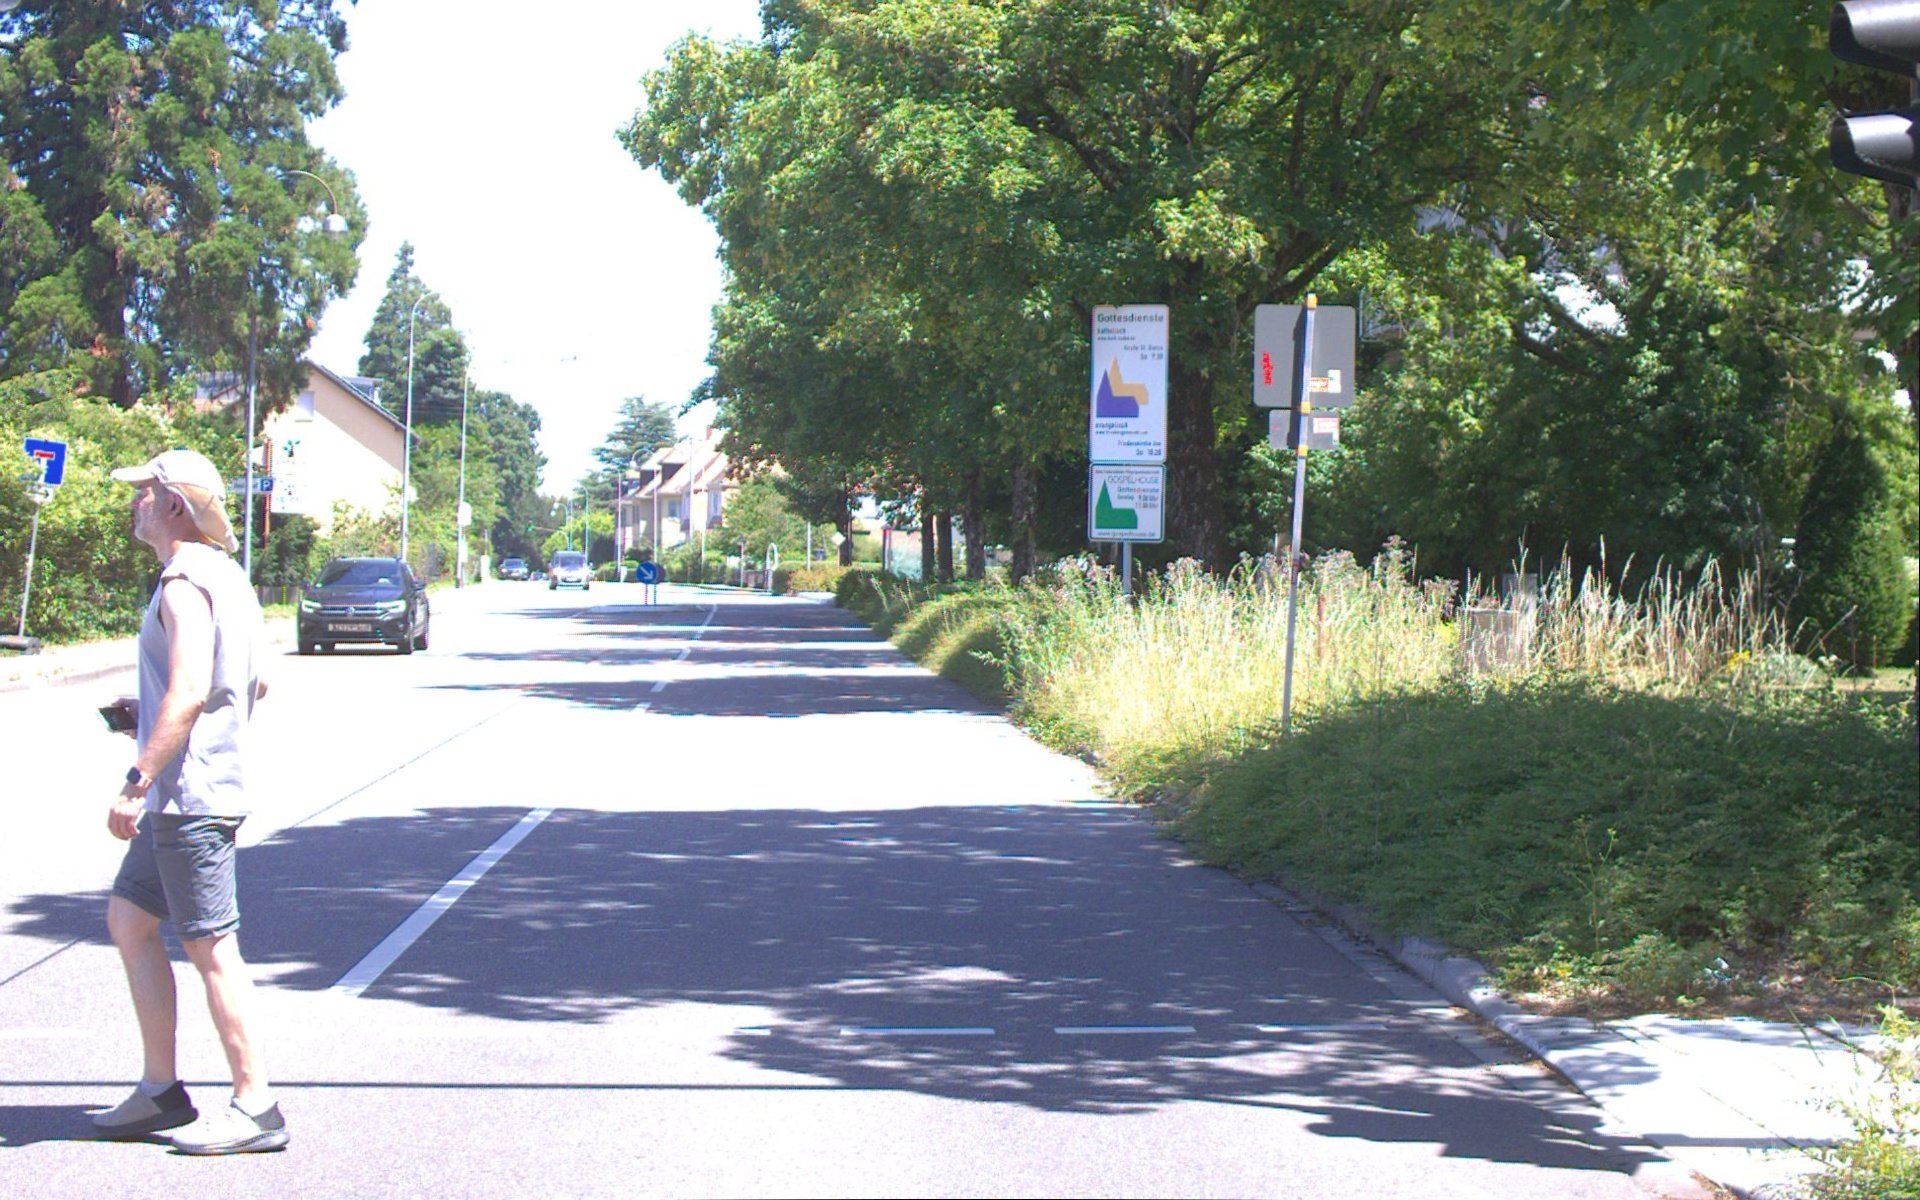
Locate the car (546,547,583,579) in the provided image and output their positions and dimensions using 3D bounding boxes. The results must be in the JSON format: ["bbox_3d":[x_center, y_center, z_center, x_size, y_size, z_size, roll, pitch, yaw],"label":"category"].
[{"bbox_3d":[-18.298,-1.727,159.249,1.555,1.443,3.790,1,0,-5],"label":"car"}]

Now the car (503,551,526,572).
[{"bbox_3d":[-30.949,-2.674,238.802,1.460,1.430,3.184,1,0,-5],"label":"car"}]

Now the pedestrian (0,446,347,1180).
[{"bbox_3d":[-1.946,0.503,8.543,0.614,1.745,0.561,1,0,19],"label":"pedestrian"}]

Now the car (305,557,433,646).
[{"bbox_3d":[-9.208,0.014,53.734,1.431,1.318,3.355,1,0,-1],"label":"car"}]
